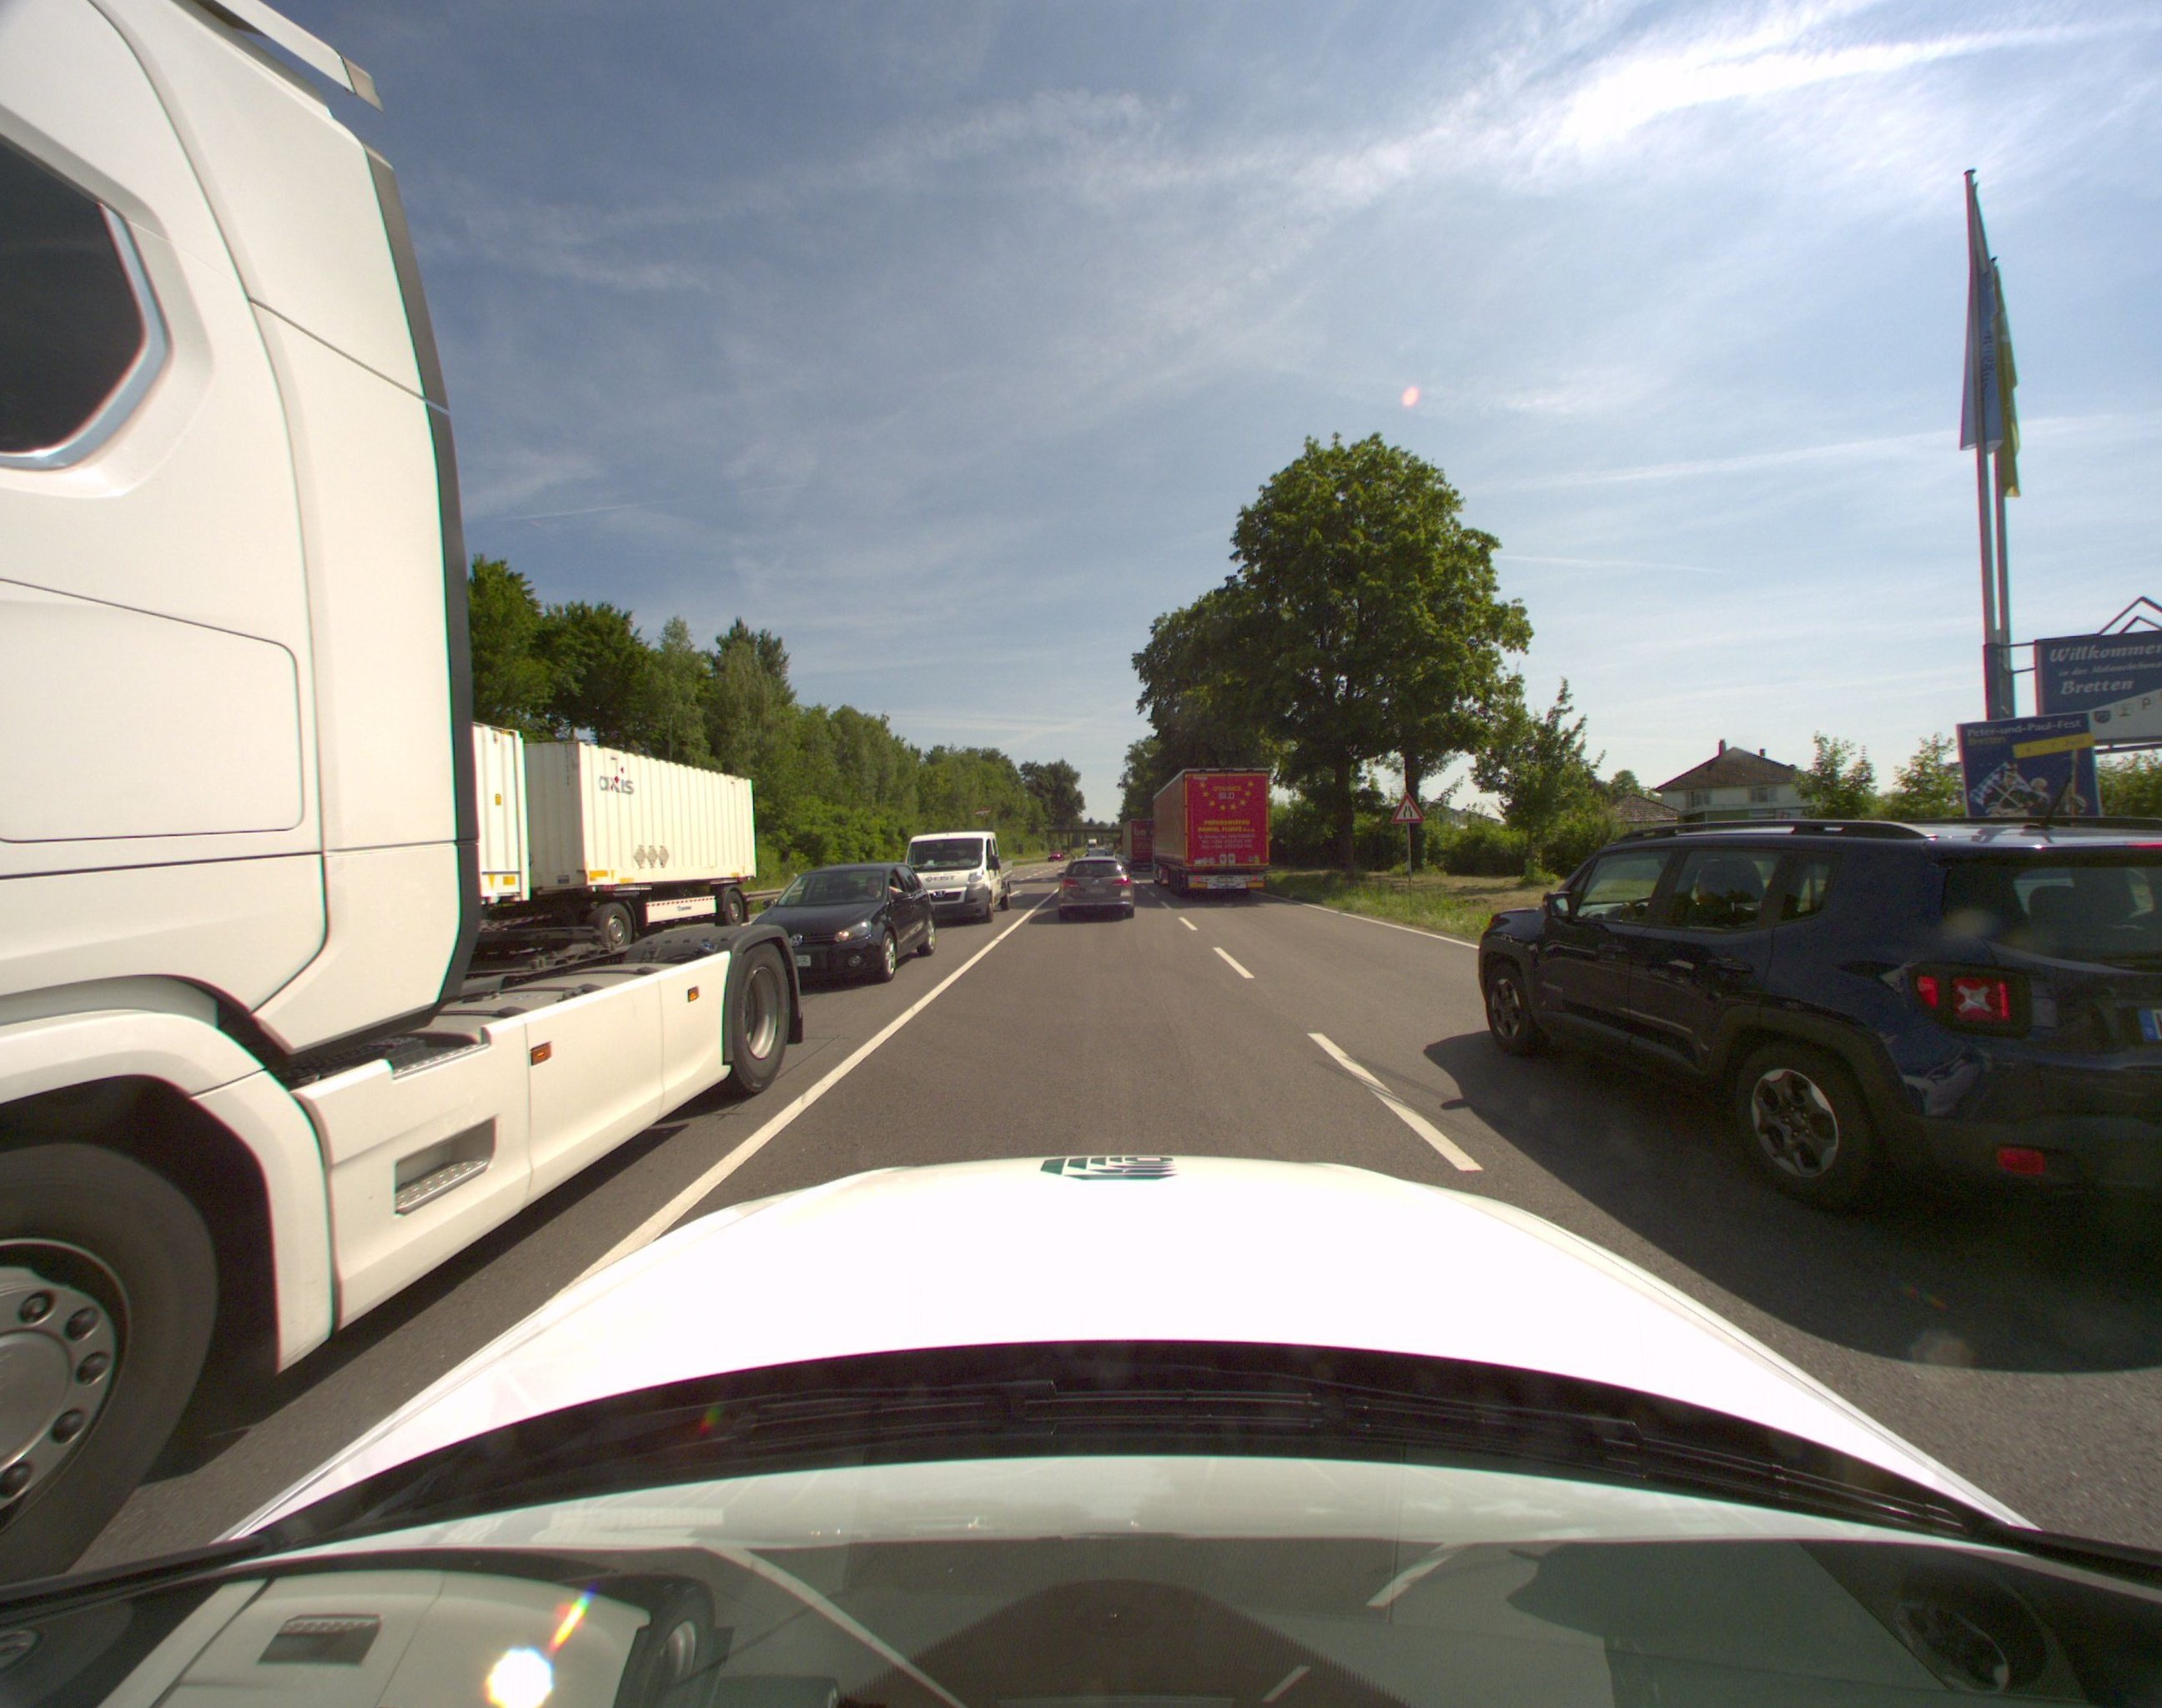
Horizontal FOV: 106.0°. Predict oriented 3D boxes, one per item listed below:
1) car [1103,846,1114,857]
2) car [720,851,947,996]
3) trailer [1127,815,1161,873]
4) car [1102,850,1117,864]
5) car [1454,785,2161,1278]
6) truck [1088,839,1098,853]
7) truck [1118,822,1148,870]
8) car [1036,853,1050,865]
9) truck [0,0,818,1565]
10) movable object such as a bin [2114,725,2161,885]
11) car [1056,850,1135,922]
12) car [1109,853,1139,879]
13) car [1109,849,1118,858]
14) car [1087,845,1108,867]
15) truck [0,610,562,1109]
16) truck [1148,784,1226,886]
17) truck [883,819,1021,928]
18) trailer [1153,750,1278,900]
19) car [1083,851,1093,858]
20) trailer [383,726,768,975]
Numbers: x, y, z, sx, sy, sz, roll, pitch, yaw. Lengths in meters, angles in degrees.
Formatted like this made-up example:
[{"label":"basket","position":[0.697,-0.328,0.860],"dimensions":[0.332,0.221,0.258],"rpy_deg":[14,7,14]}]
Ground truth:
[{"label":"car","position":[5.419,-0.512,161.843],"dimensions":[1.986,2.013,4.001],"rpy_deg":[-3,0,1]},{"label":"car","position":[-3.128,0.795,11.225],"dimensions":[1.704,1.551,4.110],"rpy_deg":[-3,0,1]},{"label":"trailer","position":[5.105,-0.755,67.760],"dimensions":[2.385,4.243,13.088],"rpy_deg":[-3,0,3]},{"label":"car","position":[4.309,0.422,123.791],"dimensions":[1.986,2.013,4.001],"rpy_deg":[-3,0,1]},{"label":"car","position":[3.929,0.592,4.769],"dimensions":[1.763,1.654,4.003],"rpy_deg":[-3,0,3]},{"label":"truck","position":[3.632,-2.494,247.034],"dimensions":[2.764,3.931,9.466],"rpy_deg":[-2,0,0]},{"label":"truck","position":[4.758,-0.662,74.710],"dimensions":[2.396,4.127,5.525],"rpy_deg":[-3,0,3]},{"label":"car","position":[-6.277,0.785,135.711],"dimensions":[1.966,1.796,4.809],"rpy_deg":[-3,0,1]},{"label":"truck","position":[-3.475,-0.571,3.347],"dimensions":[2.529,4.088,6.265],"rpy_deg":[-3,0,0]},{"label":"movable object such as a bin","position":[22.105,-1.003,14.569],"dimensions":[2.863,3.208,6.748],"rpy_deg":[-3,-1,38]},{"label":"car","position":[0.360,0.730,20.079],"dimensions":[1.685,1.513,4.000],"rpy_deg":[-3,0,1]},{"label":"car","position":[2.756,0.766,53.395],"dimensions":[1.764,1.513,4.000],"rpy_deg":[-3,0,1]},{"label":"car","position":[7.527,-0.014,189.330],"dimensions":[1.986,2.013,4.001],"rpy_deg":[-3,0,1]},{"label":"car","position":[1.547,0.190,75.649],"dimensions":[1.764,1.936,3.978],"rpy_deg":[-3,0,1]},{"label":"truck","position":[-10.298,0.105,8.868],"dimensions":[2.820,4.116,9.682],"rpy_deg":[-3,0,1]},{"label":"truck","position":[4.710,-0.793,37.255],"dimensions":[2.860,4.281,5.840],"rpy_deg":[-1,0,1]},{"label":"truck","position":[-3.041,0.438,20.977],"dimensions":[2.218,2.267,6.502],"rpy_deg":[-3,0,2]},{"label":"trailer","position":[4.543,-0.833,30.609],"dimensions":[2.829,4.365,13.171],"rpy_deg":[-1,0,2]},{"label":"car","position":[1.532,0.050,182.416],"dimensions":[1.954,1.415,4.006],"rpy_deg":[-2,0,5]},{"label":"trailer","position":[-10.221,-0.044,18.122],"dimensions":[2.830,4.069,8.756],"rpy_deg":[-3,0,1]}]
